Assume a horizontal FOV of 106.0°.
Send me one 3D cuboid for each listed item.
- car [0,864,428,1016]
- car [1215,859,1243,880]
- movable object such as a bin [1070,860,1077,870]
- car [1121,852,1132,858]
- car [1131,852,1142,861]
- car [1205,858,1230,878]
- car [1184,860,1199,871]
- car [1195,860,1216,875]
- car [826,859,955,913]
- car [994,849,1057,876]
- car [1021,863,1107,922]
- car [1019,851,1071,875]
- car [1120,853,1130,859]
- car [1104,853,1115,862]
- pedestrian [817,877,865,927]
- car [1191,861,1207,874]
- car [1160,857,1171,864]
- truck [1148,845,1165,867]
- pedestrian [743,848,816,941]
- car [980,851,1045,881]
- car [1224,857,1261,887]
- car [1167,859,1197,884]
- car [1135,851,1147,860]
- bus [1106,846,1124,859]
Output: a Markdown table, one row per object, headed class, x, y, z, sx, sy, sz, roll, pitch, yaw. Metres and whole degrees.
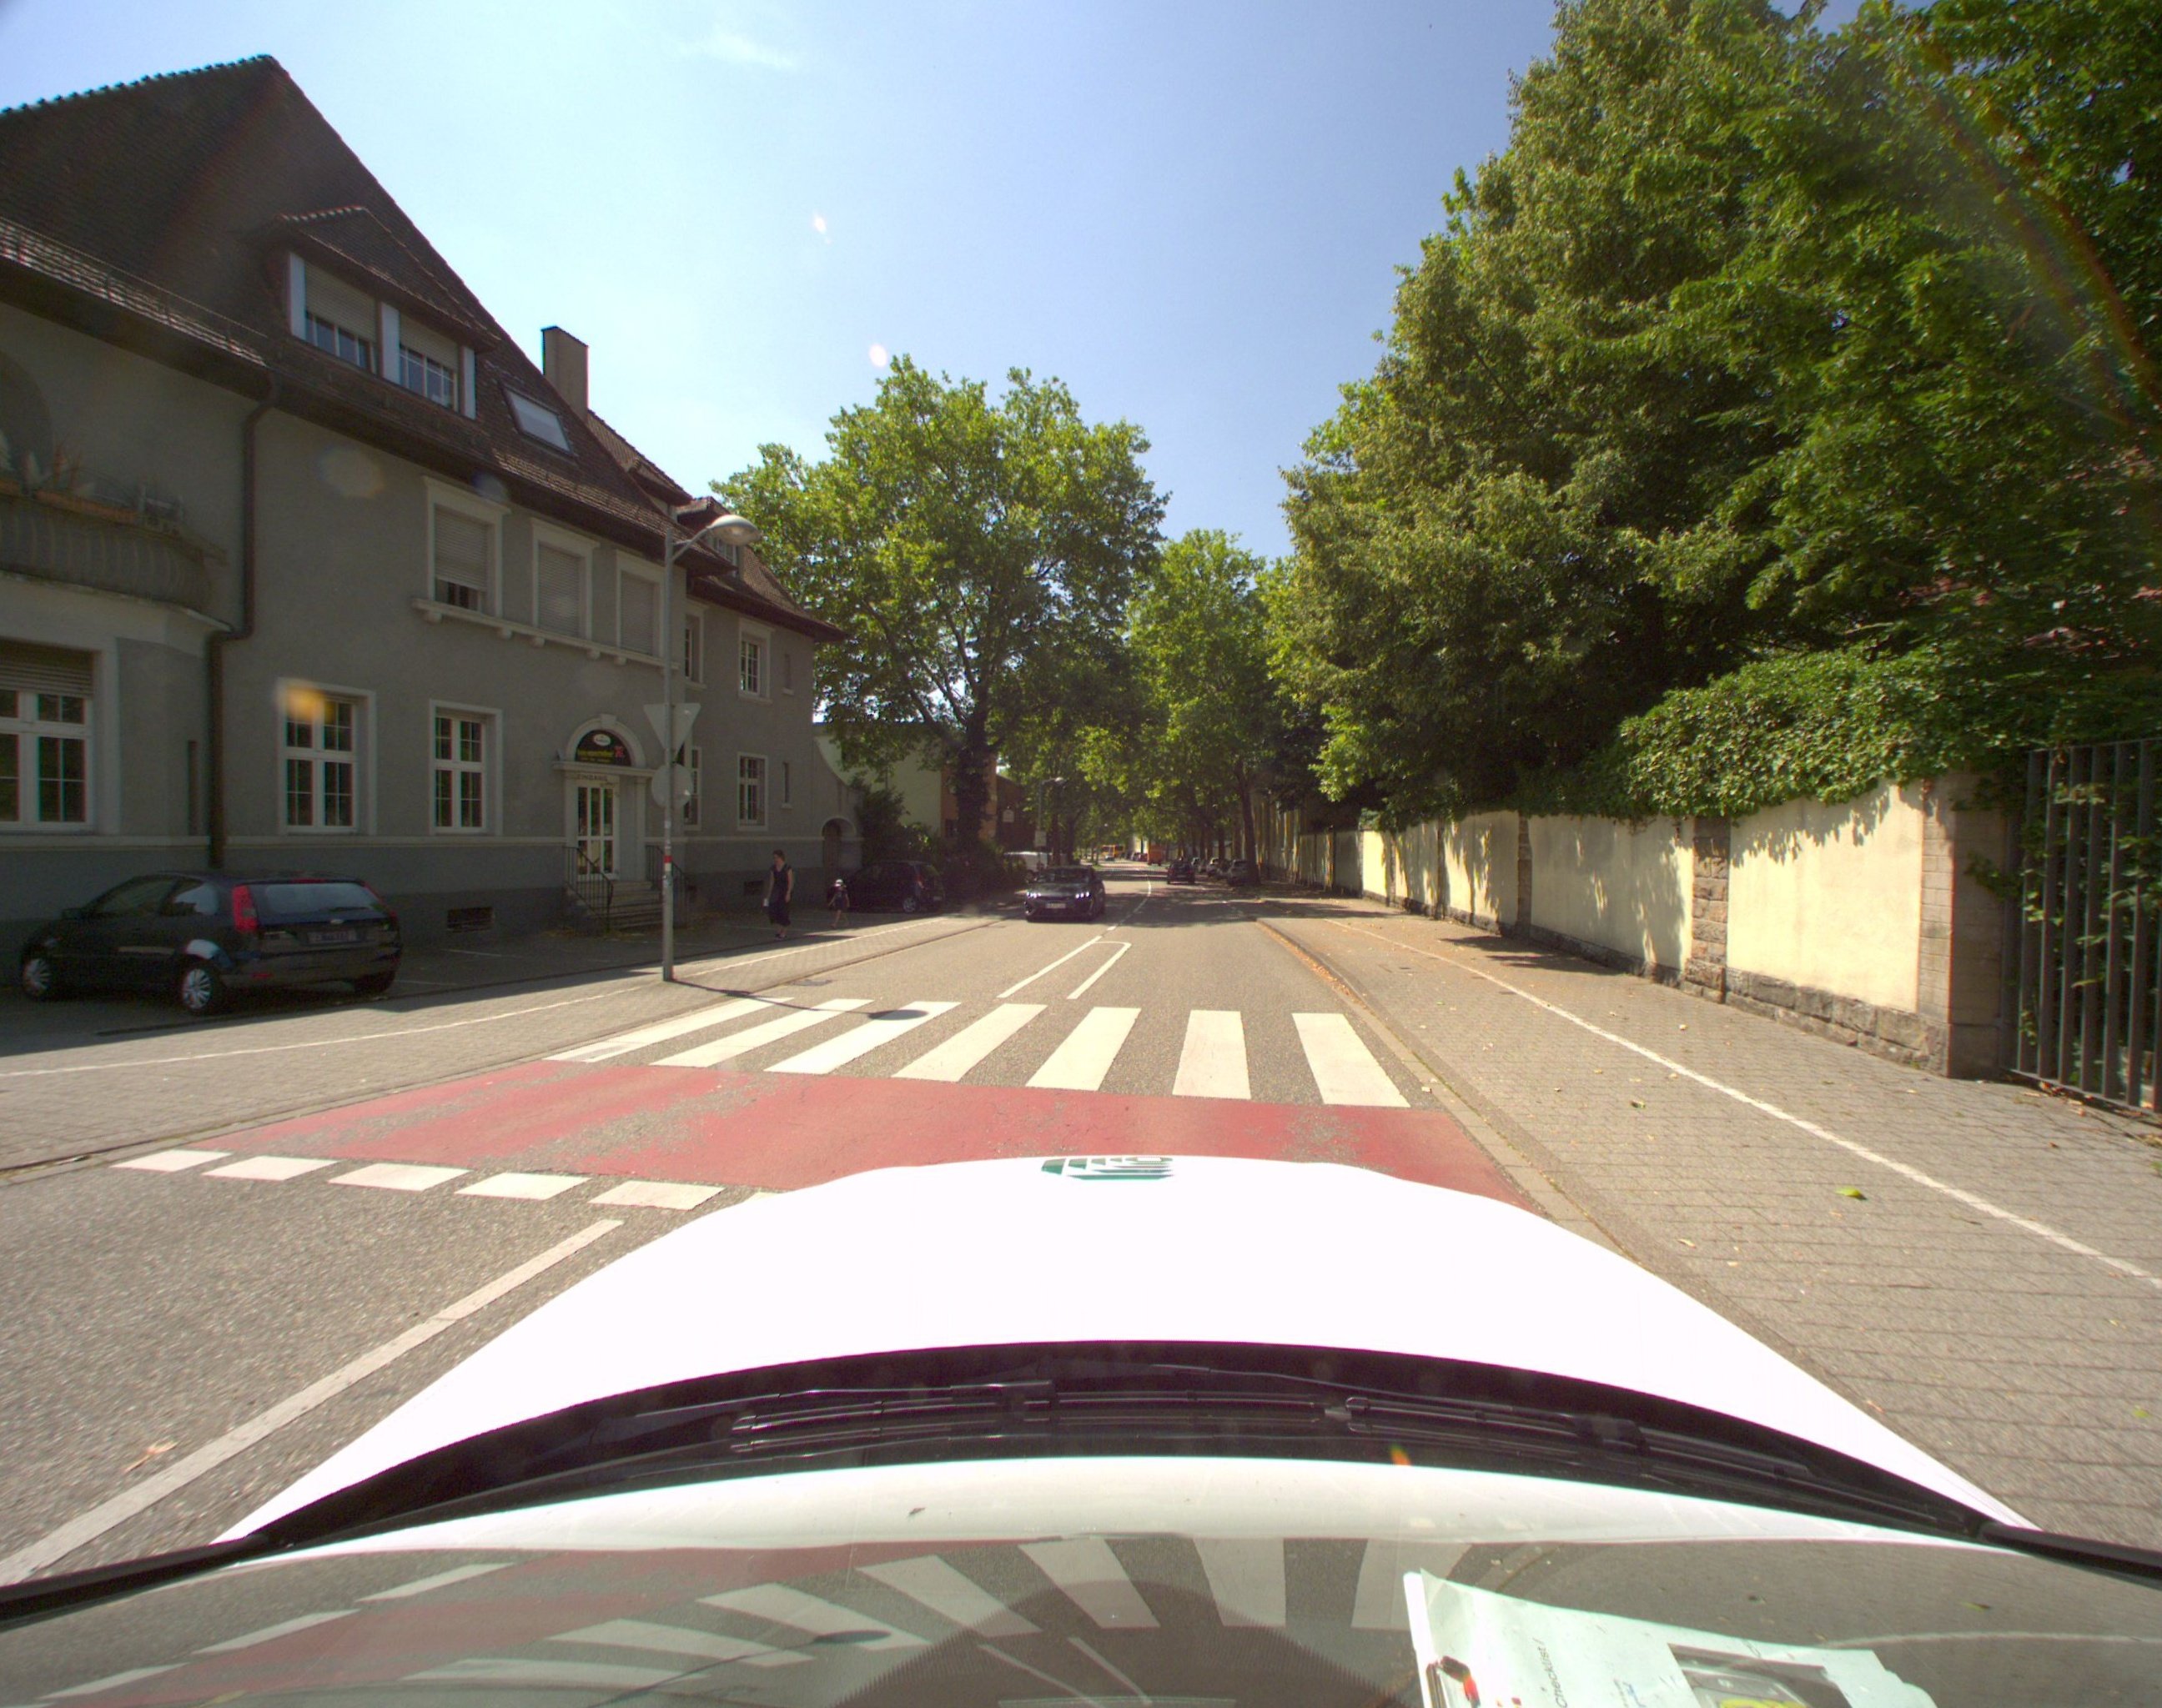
| class | x | y | z | sx | sy | sz | roll | pitch | yaw |
| --- | --- | --- | --- | --- | --- | --- | --- | --- | --- |
| car | -9.724 | 0.849 | 9.208 | 3.752 | 1.460 | 1.731 | 0 | -1 | 15 |
| car | 10.778 | 1.082 | 59.479 | 1.613 | 1.440 | 4.439 | -1 | 0 | 5 |
| movable object such as a bin | -0.805 | 1.164 | 86.833 | 0.731 | 1.078 | 0.702 | 0 | 0 | 5 |
| car | 9.743 | 0.230 | 175.306 | 1.765 | 1.374 | 3.720 | -1 | 0 | -8 |
| car | 11.098 | 0.507 | 163.232 | 1.873 | 1.686 | 3.999 | 0 | -2 | 1 |
| car | 11.870 | 1.214 | 71.021 | 1.799 | 1.689 | 4.758 | -1 | 0 | 5 |
| car | 14.786 | 1.520 | 108.973 | 1.759 | 1.466 | 3.879 | -1 | 0 | 4 |
| car | 12.476 | 1.295 | 81.769 | 1.759 | 1.433 | 3.879 | -1 | 0 | 4 |
| car | -5.727 | 0.919 | 24.612 | 3.356 | 1.546 | 1.731 | 0 | -1 | 15 |
| car | -4.096 | 0.631 | 60.727 | 4.406 | 1.804 | 1.904 | 2 | -1 | 2 |
| car | -0.351 | 0.974 | 22.272 | 1.759 | 1.426 | 4.400 | 0 | -1 | 7 |
| car | -3.016 | 0.749 | 68.701 | 4.112 | 1.804 | 1.904 | 2 | -1 | 2 |
| car | 9.918 | 0.420 | 184.128 | 1.765 | 1.374 | 3.721 | -1 | 0 | -7 |
| car | 5.580 | 0.649 | 157.731 | 1.987 | 1.666 | 3.999 | 0 | -2 | 0 |
| pedestrian | -5.627 | 1.115 | 19.128 | 0.749 | 1.122 | 0.900 | 0 | -1 | 12 |
| car | 13.959 | 1.610 | 96.224 | 1.570 | 1.466 | 3.879 | -1 | 0 | 4 |
| car | 16.095 | 1.273 | 154.699 | 1.760 | 1.374 | 3.730 | 1 | -1 | 1 |
| truck | 11.668 | 0.340 | 126.384 | 2.360 | 3.134 | 5.773 | 0 | -2 | 3 |
| pedestrian | -5.883 | 0.767 | 15.951 | 0.866 | 1.742 | 1.116 | 0 | -1 | 12 |
| car | -4.468 | 0.766 | 53.652 | 3.971 | 1.793 | 1.869 | 2 | -1 | 2 |
| car | 9.440 | 1.016 | 47.870 | 1.732 | 1.557 | 4.789 | -1 | 0 | 7 |
| car | 6.259 | 1.056 | 50.863 | 1.703 | 1.447 | 4.063 | 0 | 1 | 4 |
| car | 11.532 | 0.318 | 155.992 | 1.874 | 1.686 | 3.996 | 1 | -2 | -2 |
| bus | 8.437 | -0.299 | 203.249 | 2.661 | 3.150 | 11.169 | 0 | -1 | -7 |
